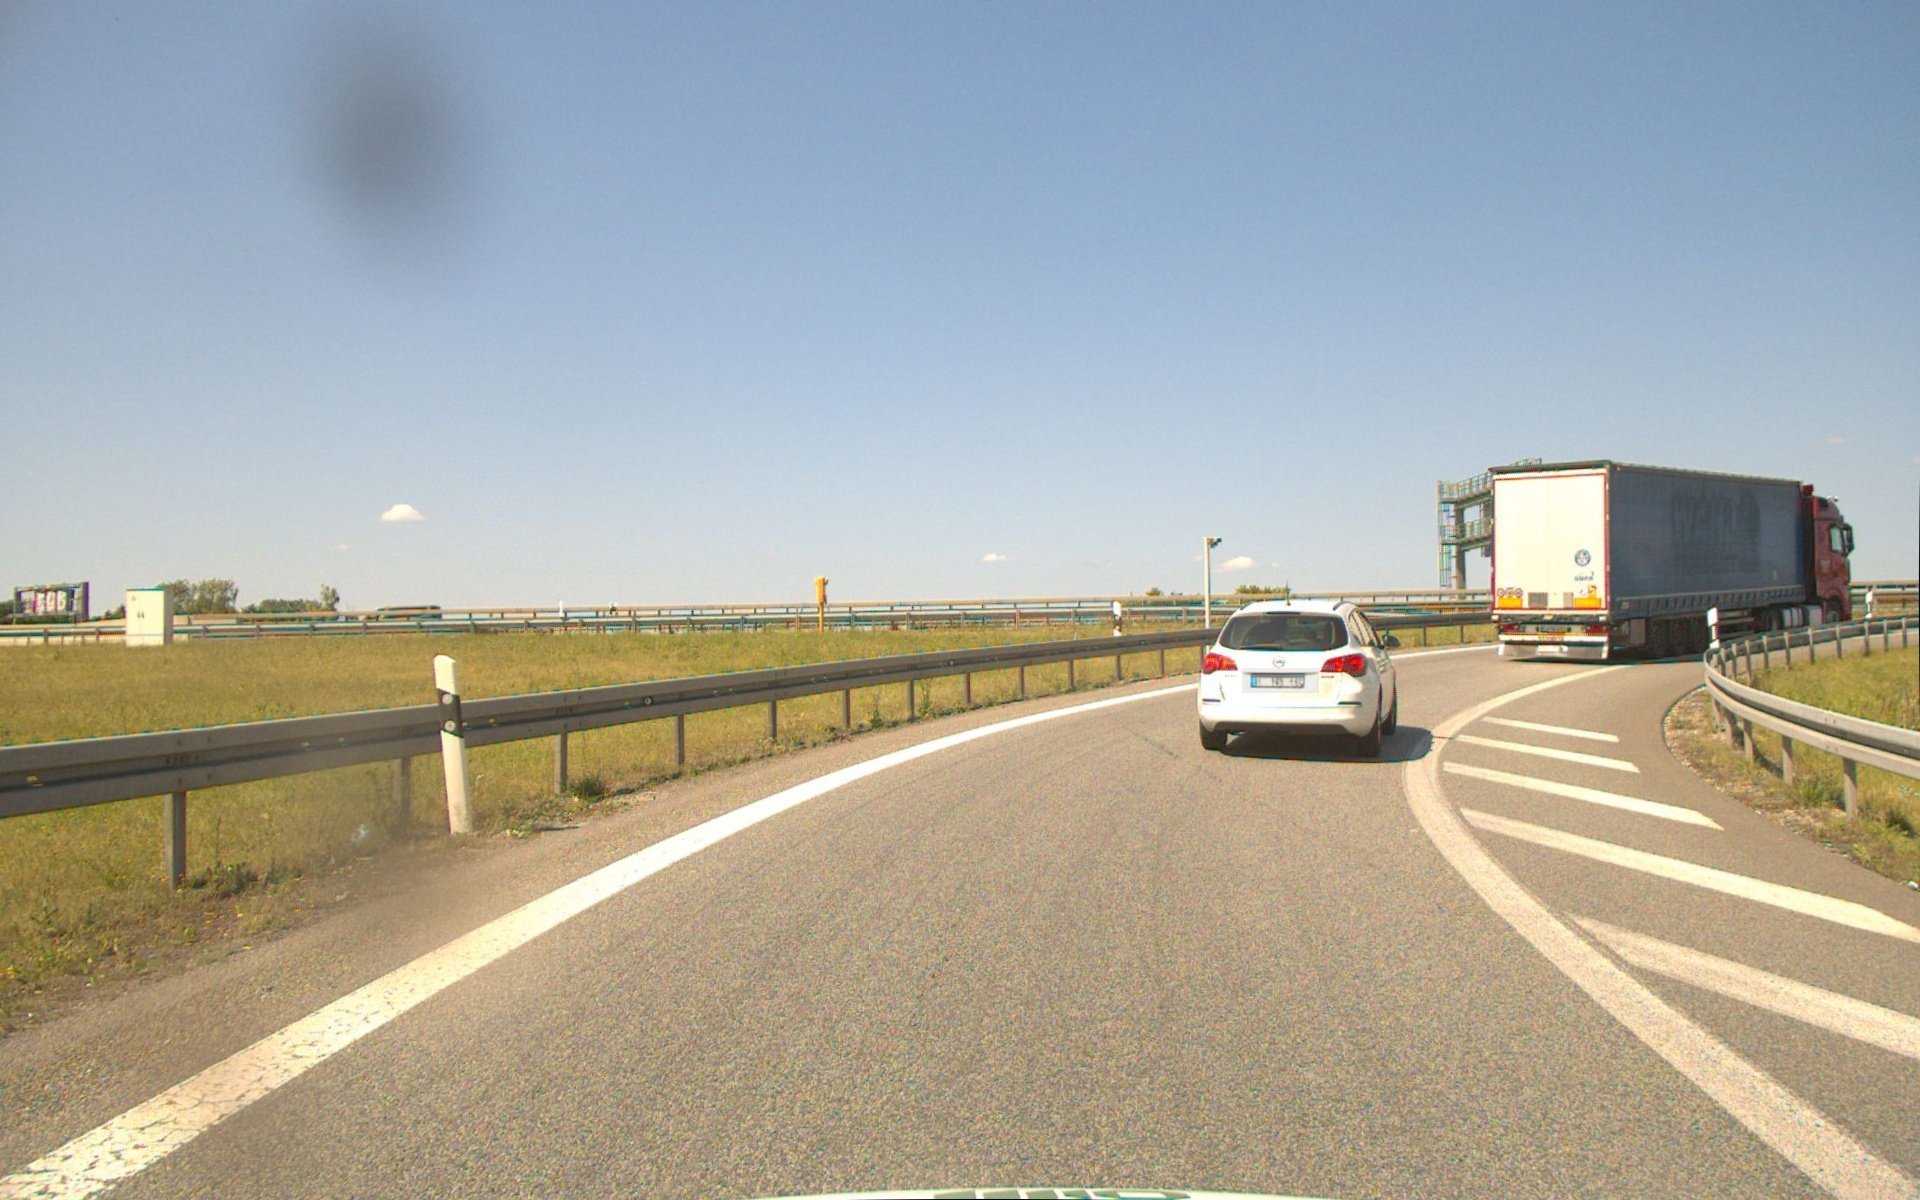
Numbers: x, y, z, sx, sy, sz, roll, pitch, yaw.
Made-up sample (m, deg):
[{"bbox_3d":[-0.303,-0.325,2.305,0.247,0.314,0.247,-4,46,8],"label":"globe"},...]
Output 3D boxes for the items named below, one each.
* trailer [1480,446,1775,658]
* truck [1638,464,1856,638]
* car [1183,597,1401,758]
[{"bbox_3d":[15.688,-0.952,38.161,2.869,4.218,11.193,0,0,41],"label":"trailer"},{"bbox_3d":[20.807,-1.181,43.575,6.868,4.218,2.877,0,0,-43],"label":"truck"},{"bbox_3d":[3.619,0.722,17.436,1.815,1.468,4.374,-1,0,17],"label":"car"}]
